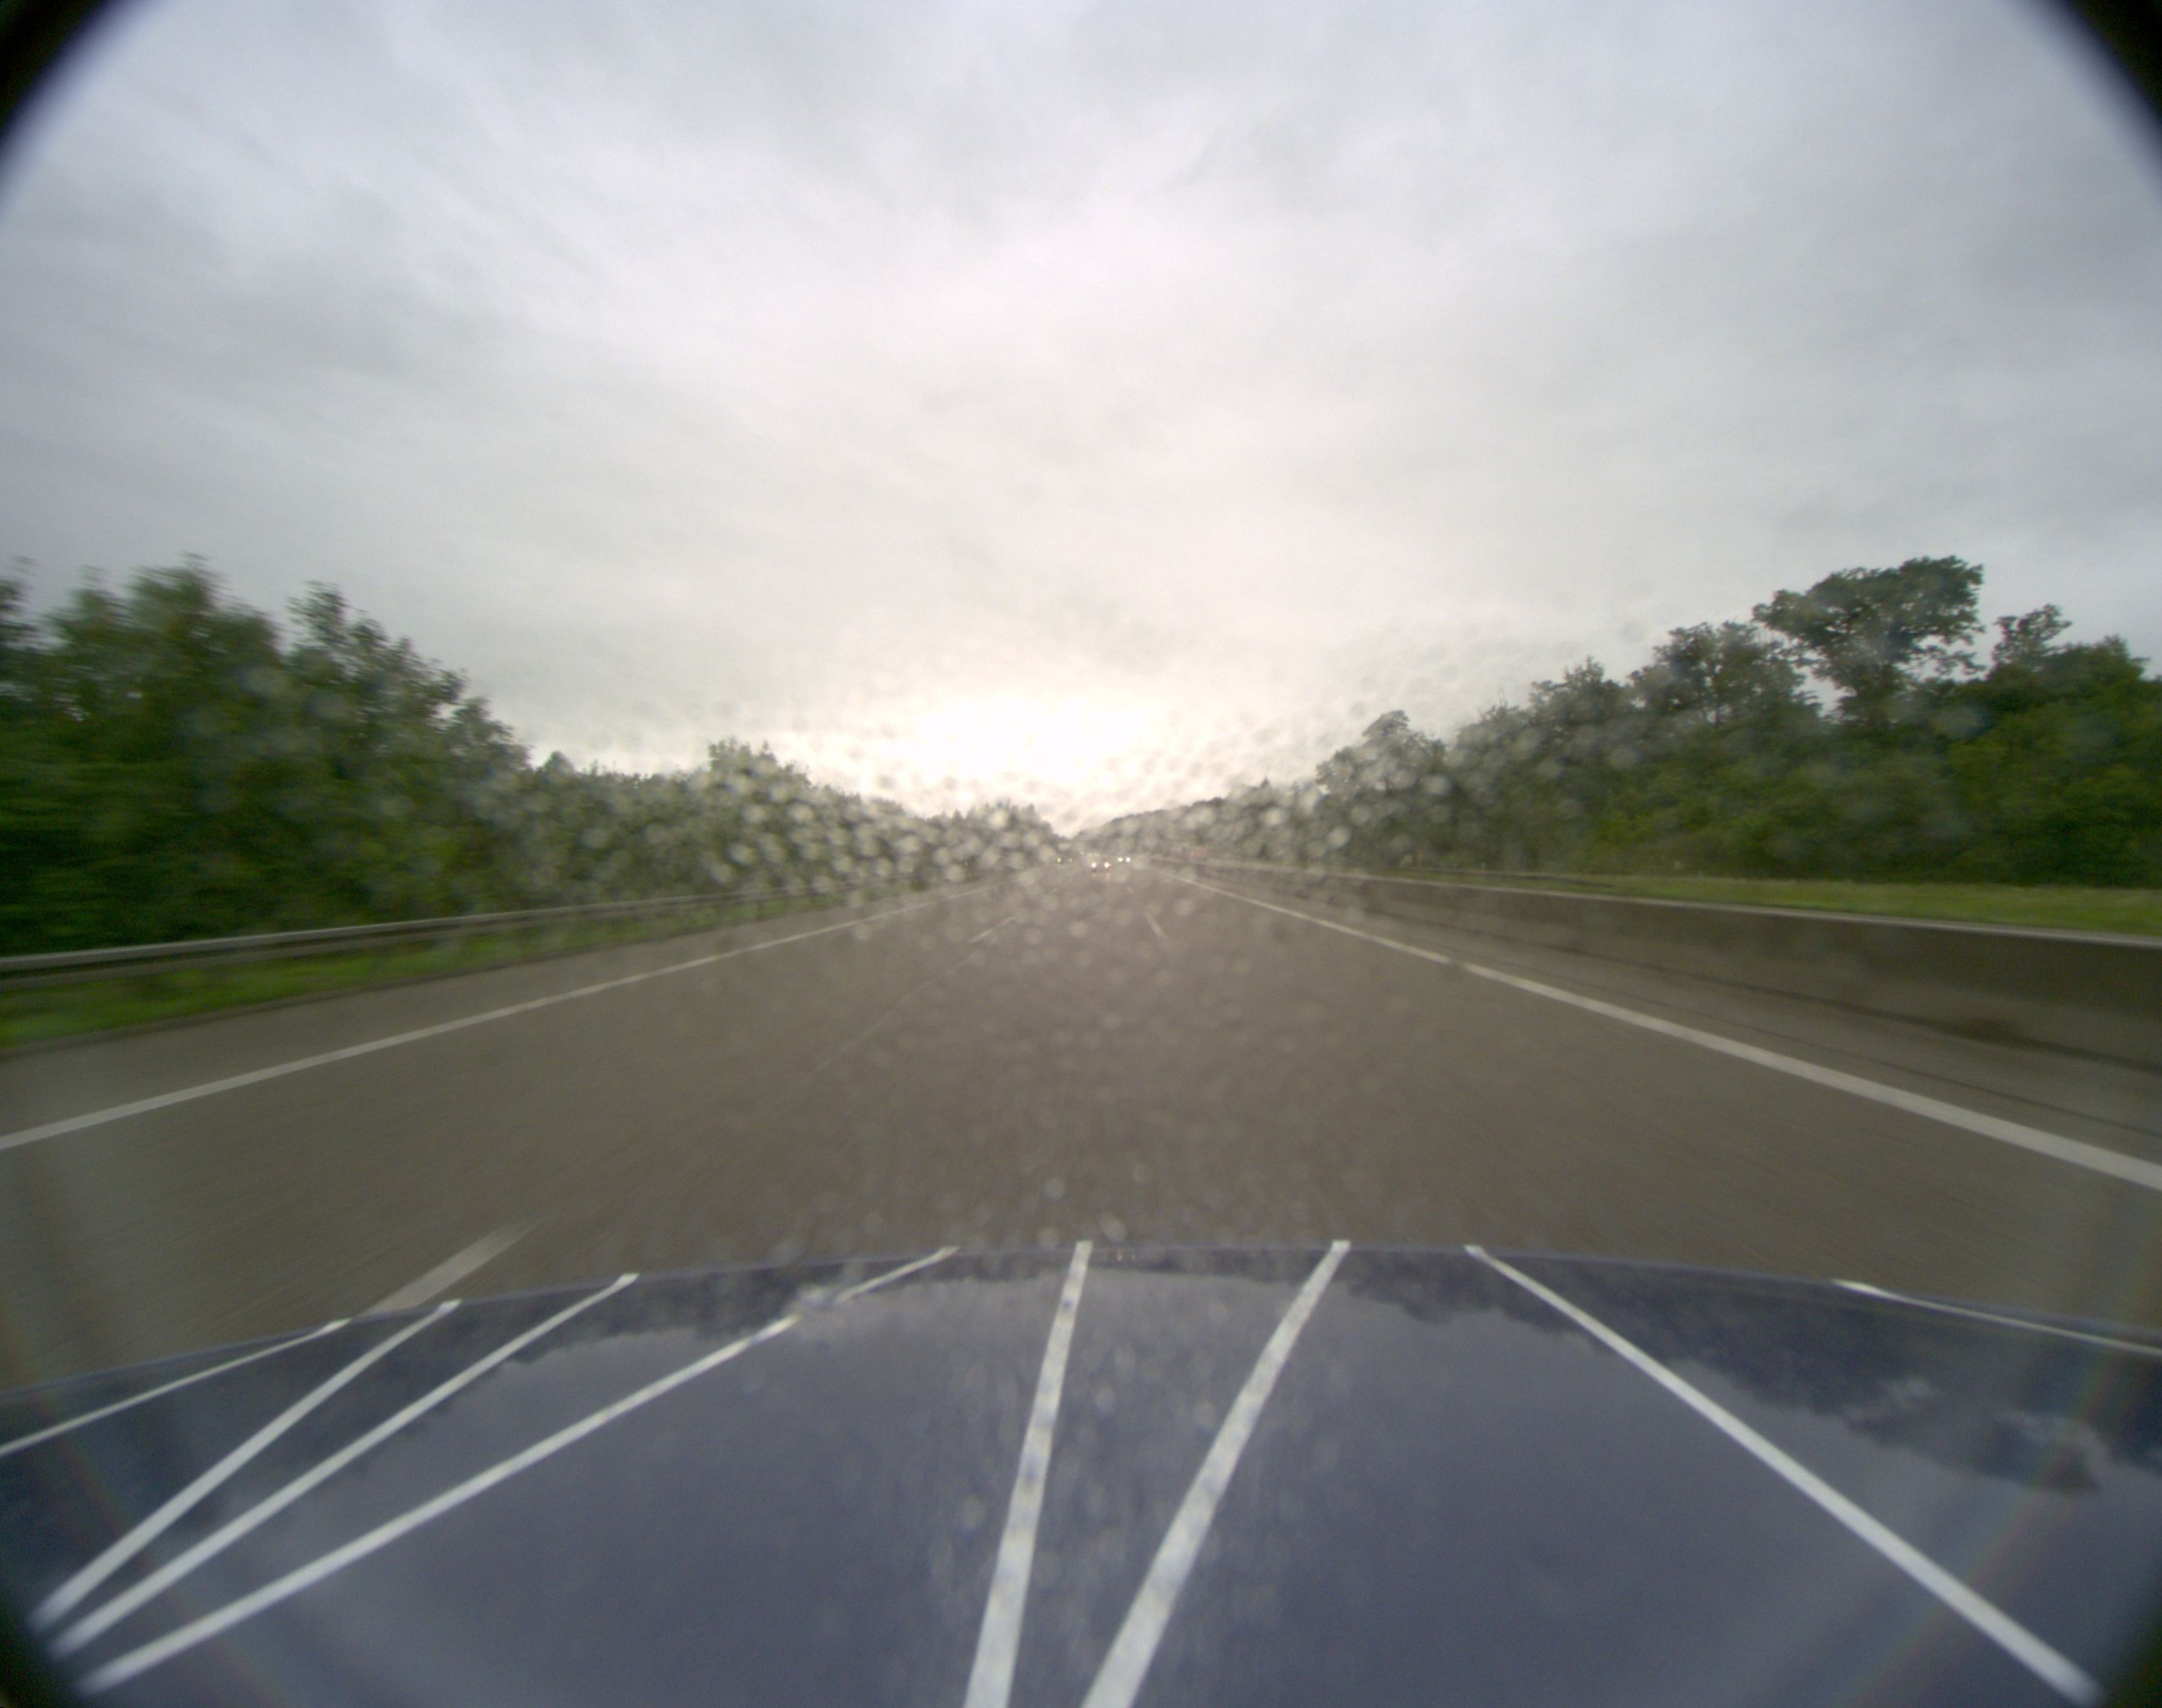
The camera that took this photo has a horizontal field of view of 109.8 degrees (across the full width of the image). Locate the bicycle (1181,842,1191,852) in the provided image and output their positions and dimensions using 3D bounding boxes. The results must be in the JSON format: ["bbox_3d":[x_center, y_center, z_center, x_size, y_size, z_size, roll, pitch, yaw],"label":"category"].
[{"bbox_3d":[25.413,-1.713,183.279,2.199,2.511,1.110,-2,1,2],"label":"bicycle"}]

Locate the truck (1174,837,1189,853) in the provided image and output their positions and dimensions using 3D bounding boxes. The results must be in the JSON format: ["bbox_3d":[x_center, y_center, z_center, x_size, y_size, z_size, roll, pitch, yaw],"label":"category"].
[{"bbox_3d":[26.039,-2.246,196.779,3.356,4.005,6.465,-1,1,2],"label":"truck"}]

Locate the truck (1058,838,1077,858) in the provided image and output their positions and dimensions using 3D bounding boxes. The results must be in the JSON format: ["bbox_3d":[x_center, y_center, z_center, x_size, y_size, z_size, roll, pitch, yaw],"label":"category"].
[{"bbox_3d":[-2.701,-1.208,154.310,3.243,3.873,12.025,-1,1,1],"label":"truck"}]

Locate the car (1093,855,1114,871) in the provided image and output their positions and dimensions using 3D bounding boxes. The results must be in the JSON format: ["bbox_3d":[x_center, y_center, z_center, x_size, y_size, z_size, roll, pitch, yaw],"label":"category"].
[{"bbox_3d":[2.226,0.847,74.418,1.932,1.521,4.299,0,-1,3],"label":"car"}]

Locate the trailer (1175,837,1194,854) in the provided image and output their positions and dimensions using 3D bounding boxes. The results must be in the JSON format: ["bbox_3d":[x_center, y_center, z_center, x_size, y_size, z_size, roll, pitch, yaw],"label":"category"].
[{"bbox_3d":[25.773,-2.156,190.134,3.370,3.994,12.610,-1,1,2],"label":"trailer"}]

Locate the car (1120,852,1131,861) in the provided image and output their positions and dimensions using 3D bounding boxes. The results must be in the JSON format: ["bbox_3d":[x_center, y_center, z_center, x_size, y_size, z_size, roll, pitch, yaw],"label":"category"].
[{"bbox_3d":[7.724,0.475,131.920,2.009,1.455,4.001,0,0,4],"label":"car"}]

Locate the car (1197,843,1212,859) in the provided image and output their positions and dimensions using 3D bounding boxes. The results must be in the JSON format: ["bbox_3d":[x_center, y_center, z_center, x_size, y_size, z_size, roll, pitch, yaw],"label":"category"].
[{"bbox_3d":[23.851,-0.590,147.069,2.185,3.025,5.976,-1,1,2],"label":"car"}]

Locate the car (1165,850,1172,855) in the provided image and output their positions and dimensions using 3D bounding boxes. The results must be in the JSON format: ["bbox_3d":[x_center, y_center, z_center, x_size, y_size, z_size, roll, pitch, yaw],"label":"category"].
[{"bbox_3d":[28.597,-0.550,247.722,1.715,1.433,4.000,0,0,0],"label":"car"}]
